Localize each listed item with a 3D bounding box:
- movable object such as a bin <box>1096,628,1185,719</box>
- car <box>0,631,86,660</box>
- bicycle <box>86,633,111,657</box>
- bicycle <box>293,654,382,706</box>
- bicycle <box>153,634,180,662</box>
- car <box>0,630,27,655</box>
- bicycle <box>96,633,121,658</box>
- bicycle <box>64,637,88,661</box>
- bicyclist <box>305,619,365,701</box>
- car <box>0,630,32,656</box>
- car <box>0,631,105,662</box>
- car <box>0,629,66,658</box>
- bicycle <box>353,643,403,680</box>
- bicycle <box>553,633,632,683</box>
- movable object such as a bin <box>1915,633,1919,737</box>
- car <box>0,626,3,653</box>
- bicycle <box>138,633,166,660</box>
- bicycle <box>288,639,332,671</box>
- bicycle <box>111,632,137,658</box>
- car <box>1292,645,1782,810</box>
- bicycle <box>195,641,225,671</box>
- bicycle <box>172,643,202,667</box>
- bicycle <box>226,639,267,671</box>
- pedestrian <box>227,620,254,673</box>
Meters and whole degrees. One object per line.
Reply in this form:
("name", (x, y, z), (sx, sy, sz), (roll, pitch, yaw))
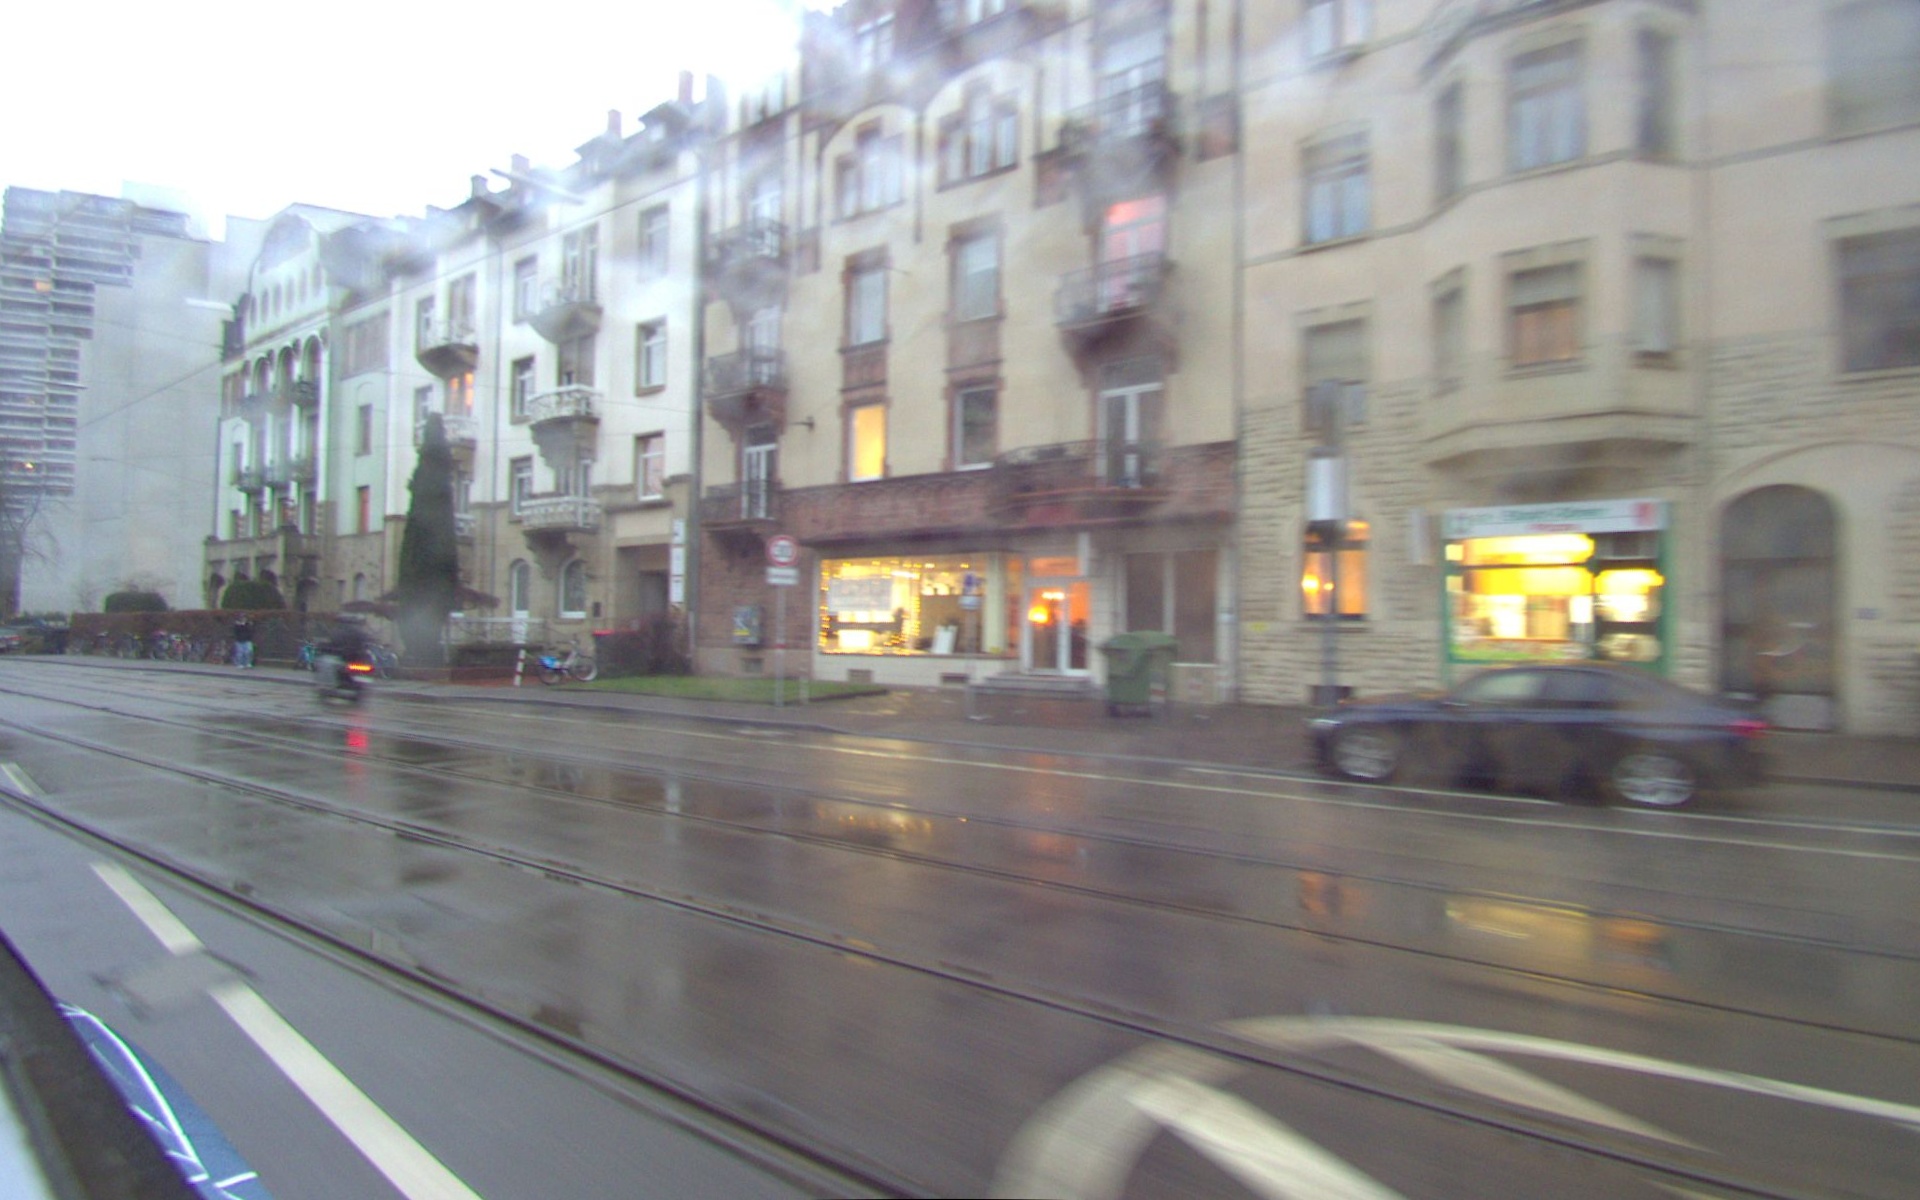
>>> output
("movable object such as a bin", (3.111, 1.221, 17.362), (1.071, 1.442, 1.226), (-1, 0, 35))
("car", (-47.135, 2.303, 51.445), (1.724, 1.424, 3.794), (-1, -3, 37))
("bicycle", (-37.512, 1.946, 44.062), (1.878, 1.014, 0.430), (-1, 0, 38))
("bicycle", (-11.702, 1.495, 19.019), (1.706, 0.896, 0.642), (0, -4, 29))
("bicycle", (-29.917, 1.786, 38.157), (1.603, 1.014, 0.430), (-1, 0, 38))
("car", (-57.520, 2.521, 59.423), (1.724, 1.424, 3.795), (-1, 0, 37))
("bicycle", (-35.958, 1.897, 42.706), (1.878, 1.014, 0.430), (-1, 0, 38))
("bicycle", (-39.899, 2.207, 45.671), (1.878, 1.014, 0.464), (-1, 0, 38))
("bicyclist", (-11.773, 1.127, 19.081), (0.655, 1.512, 0.651), (0, -4, 29))
("car", (-54.289, 2.438, 56.253), (1.724, 1.424, 3.795), (-2, -1, 37))
("car", (-44.892, 2.281, 49.989), (1.724, 1.424, 3.794), (-1, -2, 37))
("car", (-49.488, 2.282, 52.977), (1.724, 1.424, 3.795), (-1, 0, 37))
("bicycle", (-16.034, 1.673, 27.868), (2.085, 0.947, 0.524), (-1, 0, 41))
("bicycle", (-9.601, 1.494, 26.504), (0.530, 1.167, 1.967), (-1, 0, 35))
("movable object such as a bin", (13.196, 1.139, 12.949), (1.272, 1.382, 0.993), (-1, 0, 35))
("car", (-62.624, 2.532, 63.276), (1.724, 1.730, 3.795), (-2, 0, 37))
("bicycle", (-31.538, 1.811, 39.474), (1.878, 1.014, 0.430), (-1, 0, 38))
("bicycle", (-19.811, 1.663, 30.828), (2.208, 0.896, 0.524), (-1, 0, 41))
("bicycle", (-34.324, 1.843, 41.544), (1.878, 1.014, 0.430), (-1, 0, 38))
("car", (6.289, 1.285, 11.467), (4.496, 1.400, 1.787), (-1, 0, 33))
("bicycle", (-26.778, 1.976, 36.124), (1.710, 1.014, 0.430), (-1, 0, 38))
("bicycle", (-28.324, 2.001, 37.079), (1.765, 0.838, 0.437), (-1, 0, 38))
("bicycle", (-24.082, 1.838, 34.138), (2.206, 1.014, 0.518), (-1, 0, 38))
("pedestrian", (-23.019, 1.484, 32.373), (0.447, 1.654, 0.567), (-1, 0, 33))
